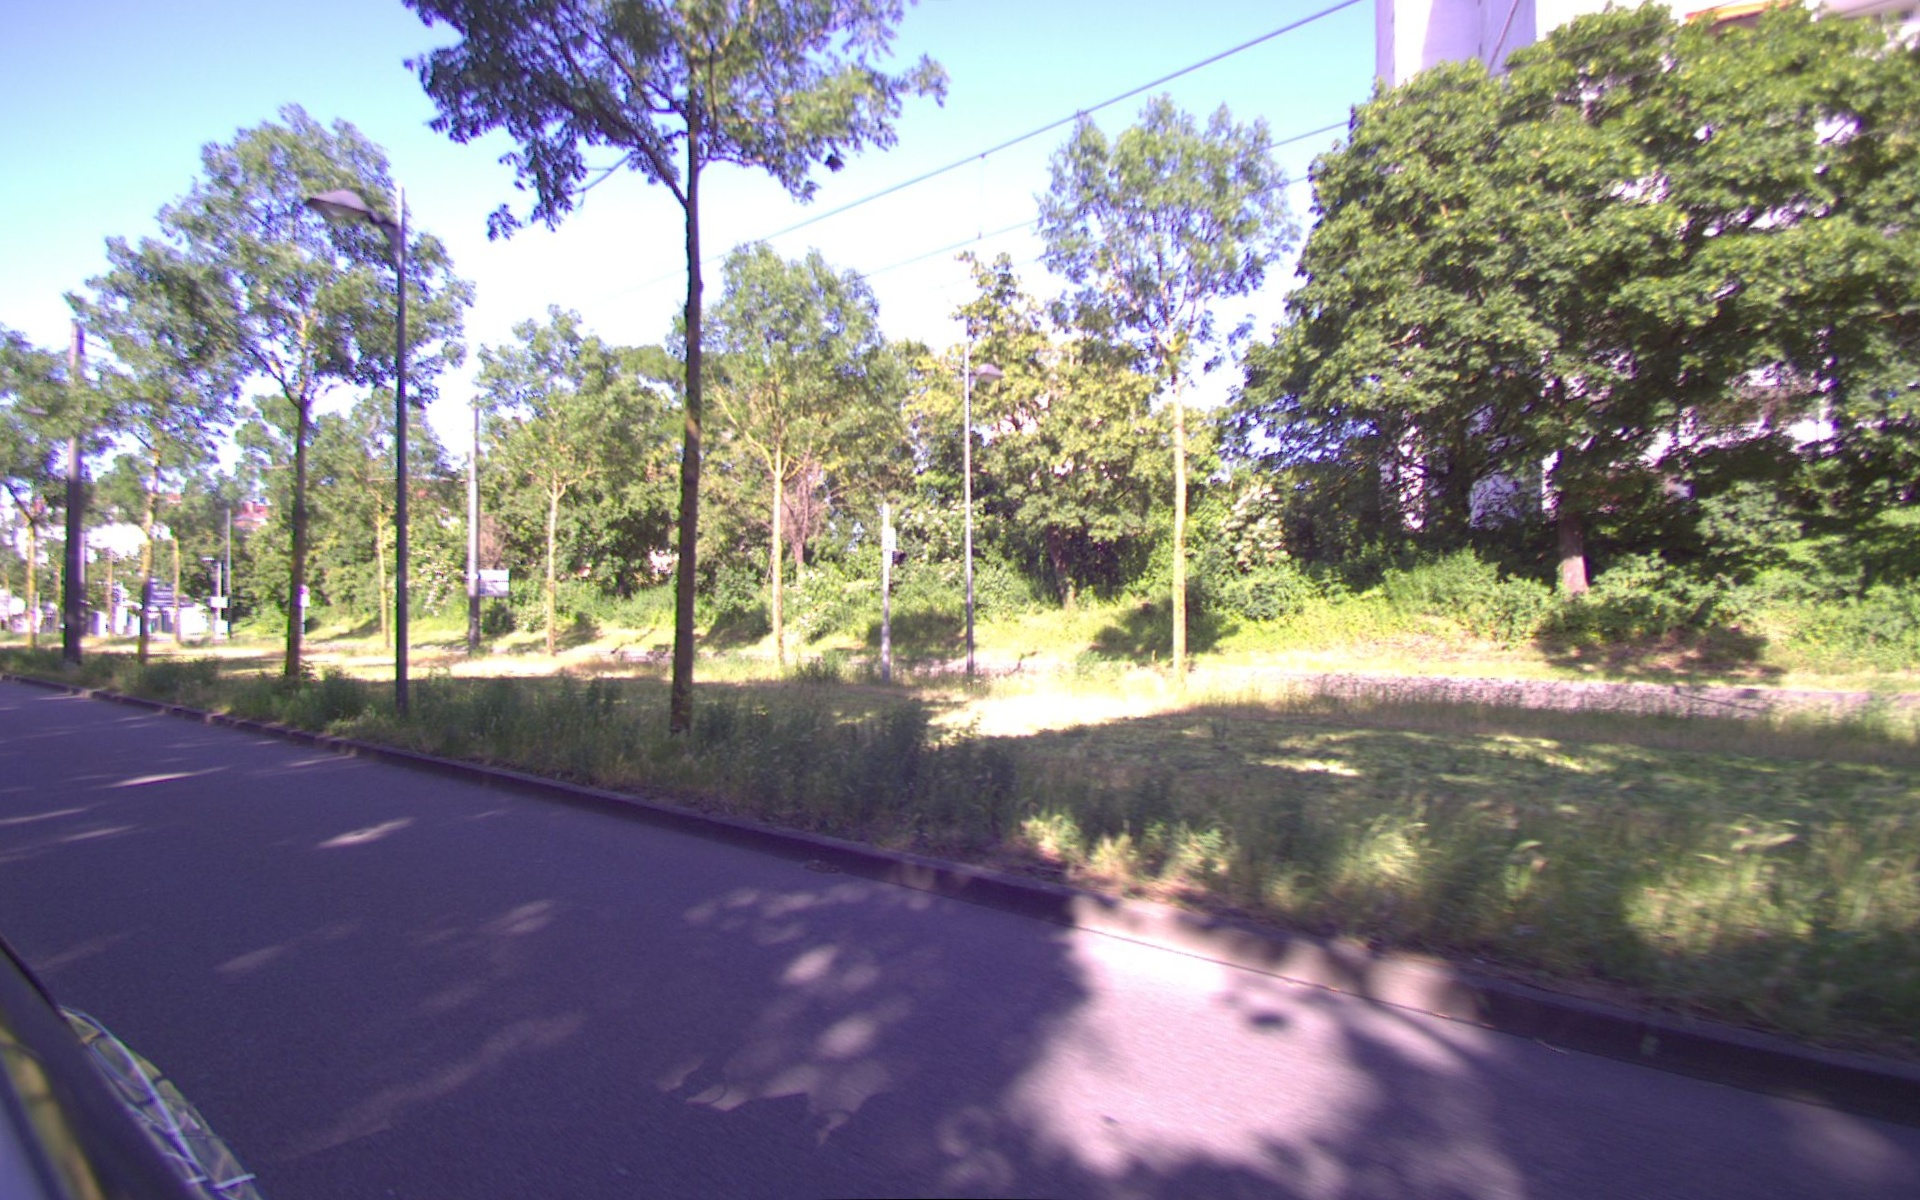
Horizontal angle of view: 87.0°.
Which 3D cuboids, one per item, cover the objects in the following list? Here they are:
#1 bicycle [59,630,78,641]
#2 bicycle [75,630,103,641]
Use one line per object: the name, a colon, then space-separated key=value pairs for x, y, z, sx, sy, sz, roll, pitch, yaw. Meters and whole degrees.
bicycle: x=-106.695 y=4.253 z=121.130 sx=2.536 sy=1.222 sz=0.714 roll=-1 pitch=-2 yaw=24
bicycle: x=-104.574 y=4.262 z=121.557 sx=0.715 sy=1.222 sz=2.532 roll=-1 pitch=-2 yaw=23
